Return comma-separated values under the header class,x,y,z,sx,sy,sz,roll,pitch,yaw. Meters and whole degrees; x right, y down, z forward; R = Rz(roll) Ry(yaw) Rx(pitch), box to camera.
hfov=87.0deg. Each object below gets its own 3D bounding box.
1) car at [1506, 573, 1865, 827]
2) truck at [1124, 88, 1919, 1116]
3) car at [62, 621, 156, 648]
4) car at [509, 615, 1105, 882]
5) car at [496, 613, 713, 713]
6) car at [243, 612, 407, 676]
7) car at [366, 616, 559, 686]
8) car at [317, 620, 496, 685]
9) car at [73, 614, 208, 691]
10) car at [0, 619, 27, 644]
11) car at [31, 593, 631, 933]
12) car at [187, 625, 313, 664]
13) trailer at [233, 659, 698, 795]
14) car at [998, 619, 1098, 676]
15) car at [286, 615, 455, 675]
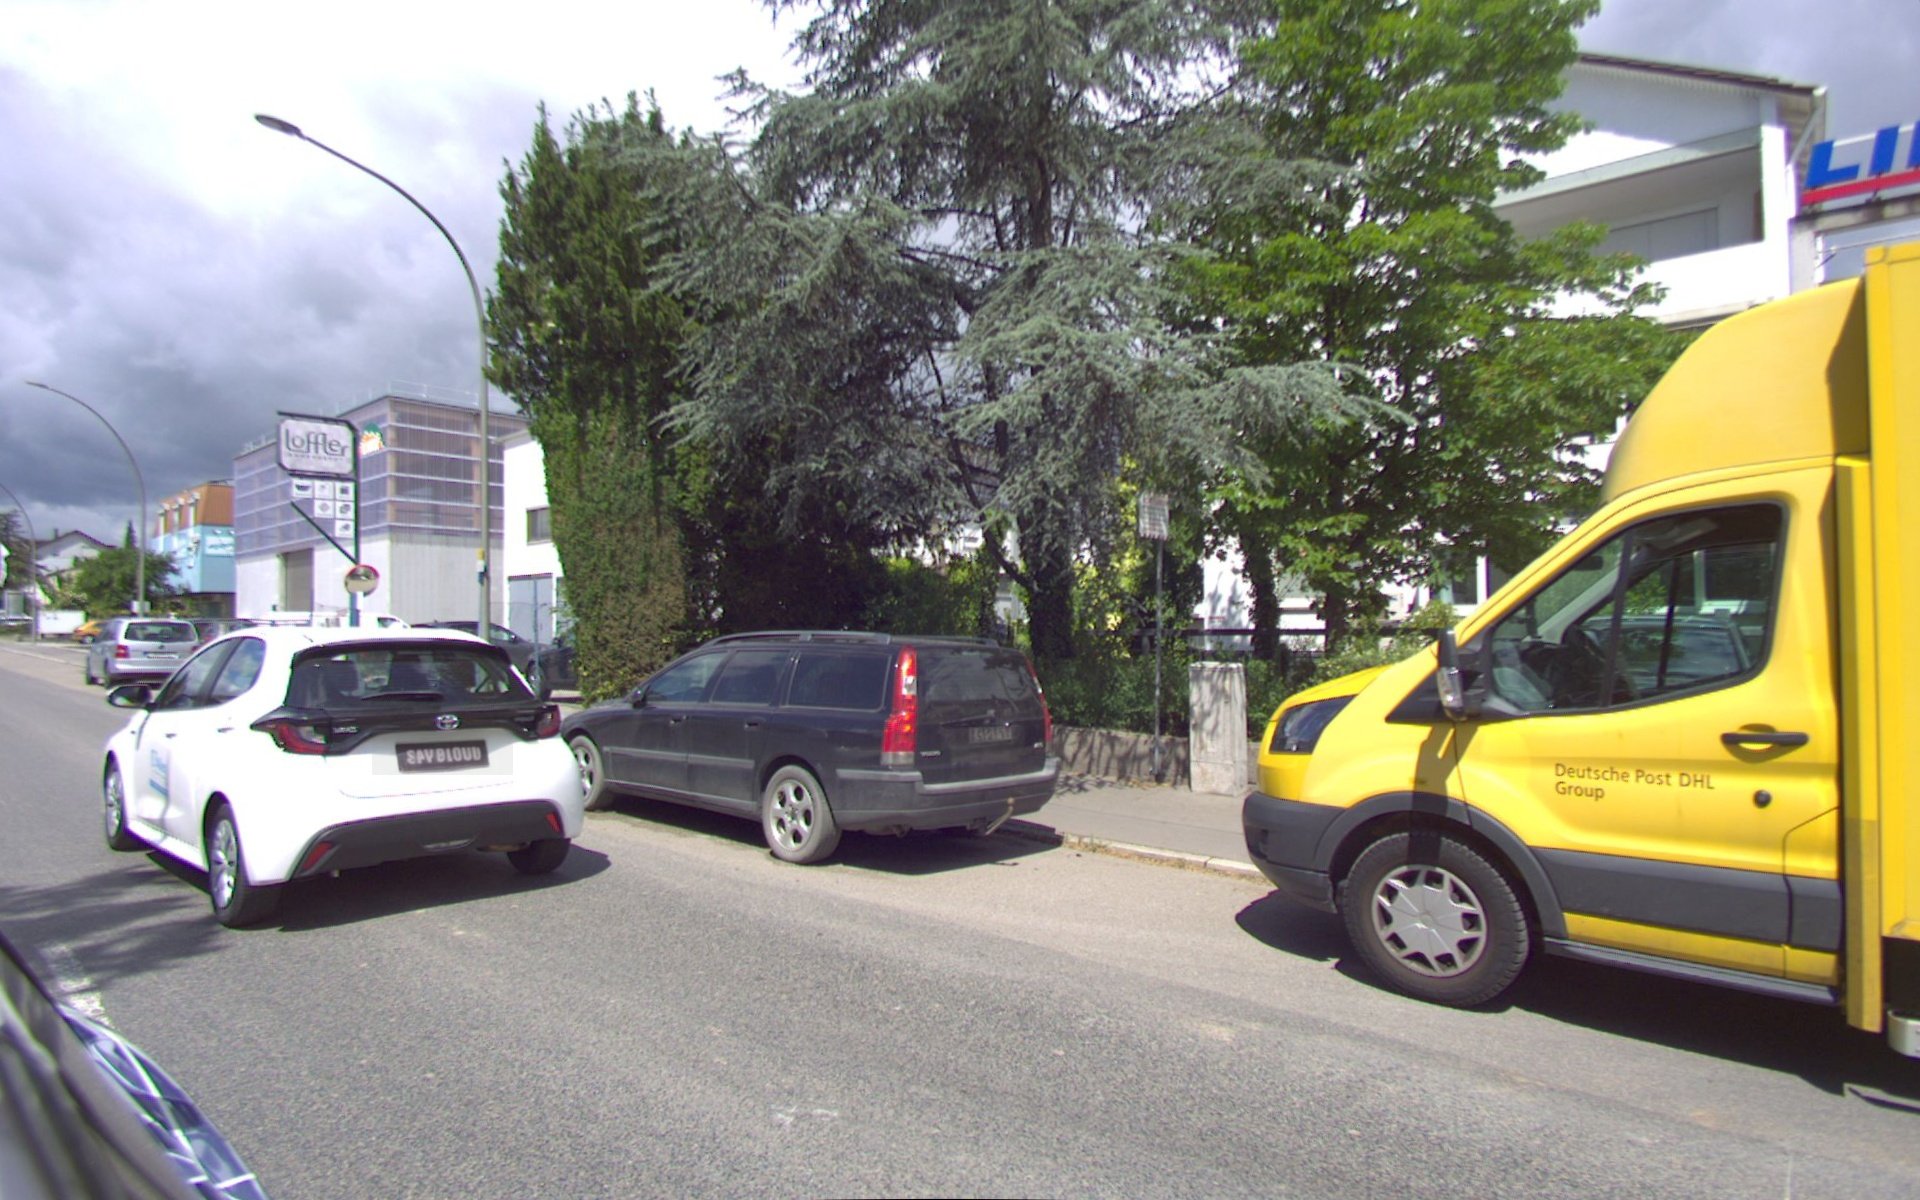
class,x,y,z,sx,sy,sz,roll,pitch,yaw
car,6.390,0.677,8.804,1.971,1.563,4.957,-1,-2,39
truck,4.492,0.023,3.064,7.812,3.026,2.300,-1,-4,40
car,-50.163,2.041,59.692,1.674,1.505,3.994,-1,-3,40
car,-1.440,0.937,7.950,4.810,1.464,1.972,-1,-6,42
car,-6.741,1.134,18.949,4.630,1.647,1.788,-2,-4,42
car,-20.025,1.366,32.024,1.999,1.891,3.945,-1,-3,41
car,-13.018,1.292,26.694,1.997,1.683,4.118,-1,-2,38
car,-15.620,1.454,28.727,2.101,1.683,3.948,-1,-3,38
car,-19.552,1.223,24.083,4.126,1.689,1.785,-1,-4,42
car,-78.548,2.534,82.261,3.940,2.029,2.001,3,-3,-44
car,-4.062,0.747,6.309,3.996,1.431,1.962,-1,-3,39
car,-29.092,1.841,41.568,1.775,1.513,3.905,-3,-4,39
trailer,-6.247,1.285,12.031,7.456,0.998,2.294,-1,-4,42
car,3.404,1.788,38.504,1.996,2.042,4.087,-1,-3,35
car,-17.725,1.341,30.538,1.999,1.683,3.946,-1,-3,40
